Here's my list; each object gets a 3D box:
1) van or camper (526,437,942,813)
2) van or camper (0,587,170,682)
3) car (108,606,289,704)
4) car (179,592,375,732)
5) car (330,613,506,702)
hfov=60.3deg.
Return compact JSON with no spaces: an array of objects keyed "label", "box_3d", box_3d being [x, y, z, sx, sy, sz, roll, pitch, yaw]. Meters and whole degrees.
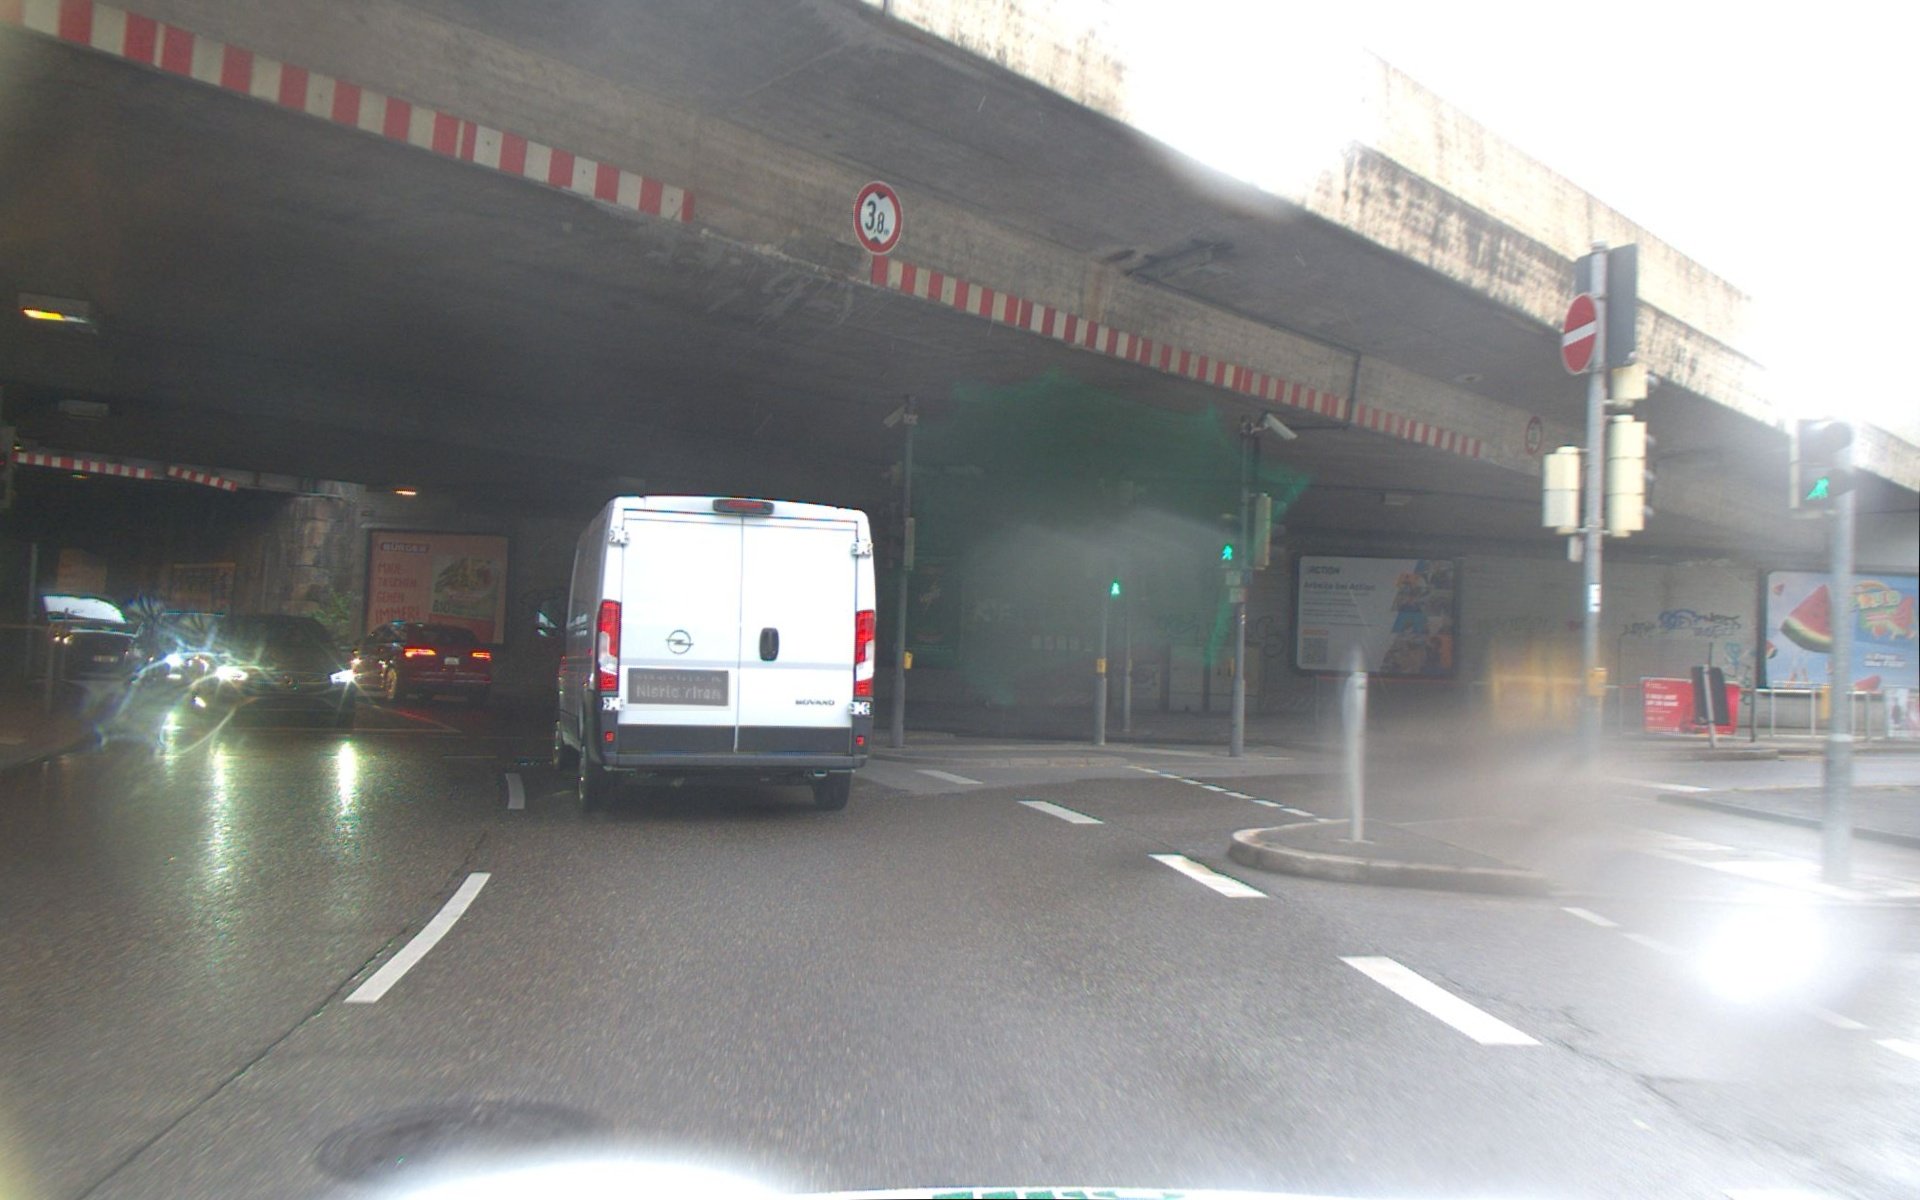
[{"label":"van or camper","box_3d":[-2.109,0.179,13.632,2.655,2.458,4.882,3,0,-16]},{"label":"van or camper","box_3d":[-19.276,0.733,35.959,5.048,1.901,1.987,0,-3,43]},{"label":"car","box_3d":[-12.777,0.899,27.627,1.978,1.490,4.053,3,-2,-36]},{"label":"car","box_3d":[-9.381,0.781,22.518,1.971,1.556,4.458,3,0,-28]},{"label":"car","box_3d":[-10.006,1.026,30.360,1.822,1.464,4.049,3,-2,-37]}]
